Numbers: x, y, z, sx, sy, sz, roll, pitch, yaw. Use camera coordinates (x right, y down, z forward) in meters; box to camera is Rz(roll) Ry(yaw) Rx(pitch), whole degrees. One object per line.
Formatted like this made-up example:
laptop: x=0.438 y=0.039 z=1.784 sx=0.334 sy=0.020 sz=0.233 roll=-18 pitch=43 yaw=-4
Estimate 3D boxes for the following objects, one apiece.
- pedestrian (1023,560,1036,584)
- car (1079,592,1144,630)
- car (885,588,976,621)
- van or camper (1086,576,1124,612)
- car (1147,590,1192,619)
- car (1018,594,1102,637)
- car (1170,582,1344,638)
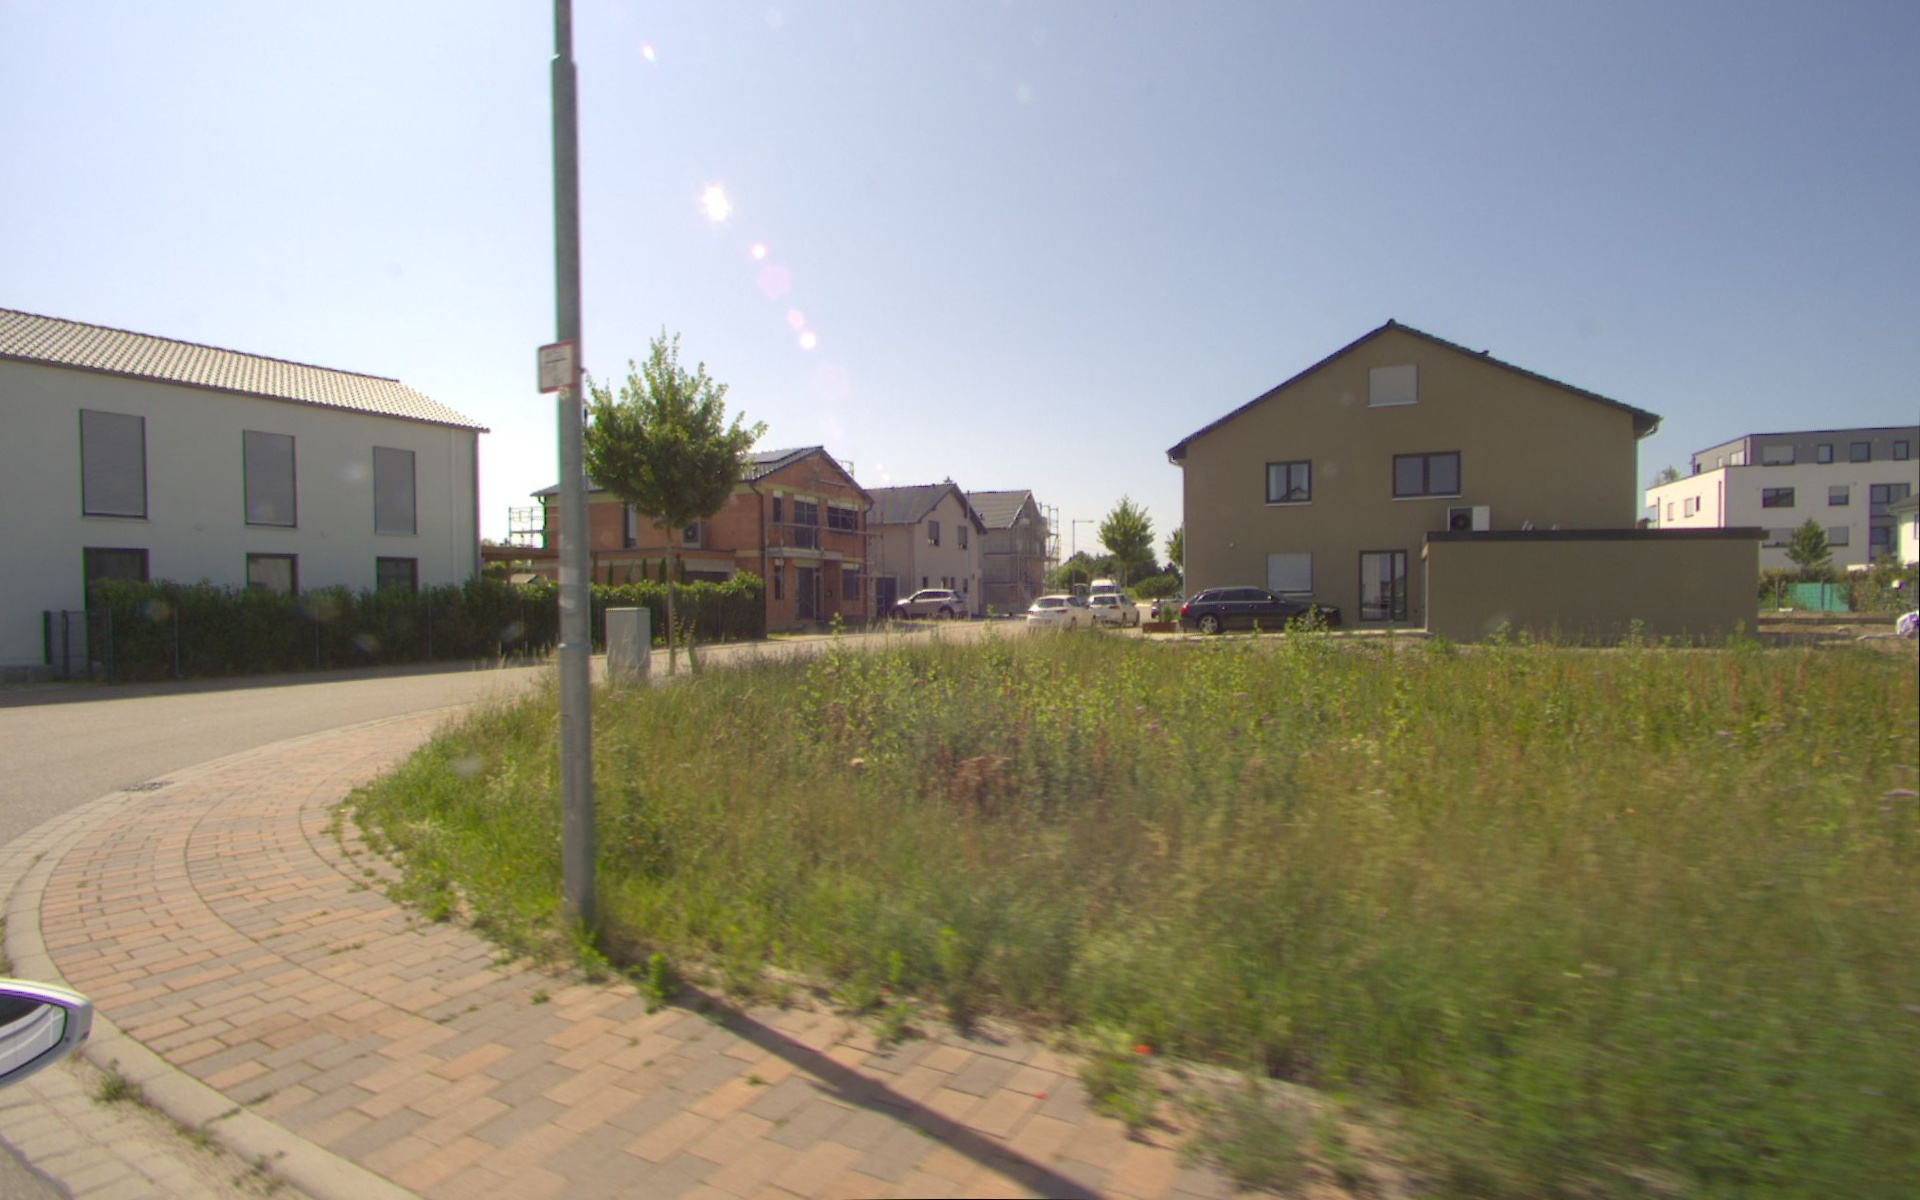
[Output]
pedestrian: x=5.030 y=-2.043 z=72.807 sx=0.736 sy=1.701 sz=0.577 roll=0 pitch=-1 yaw=-22
car: x=6.661 y=0.448 z=43.756 sx=1.755 sy=1.445 sz=4.500 roll=-2 pitch=0 yaw=22
car: x=-1.528 y=0.251 z=52.589 sx=4.362 sy=1.633 sz=1.995 roll=-1 pitch=1 yaw=20
van or camper: x=10.980 y=-0.412 z=75.333 sx=2.238 sy=2.587 sz=6.361 roll=-1 pitch=0 yaw=13
car: x=12.323 y=0.247 z=58.671 sx=1.891 sy=1.531 sz=5.282 roll=-2 pitch=0 yaw=19
car: x=3.865 y=0.555 z=37.928 sx=1.790 sy=1.475 sz=4.550 roll=-2 pitch=0 yaw=24
car: x=9.119 y=0.312 z=30.769 sx=4.827 sy=1.444 sz=1.992 roll=-3 pitch=0 yaw=26
